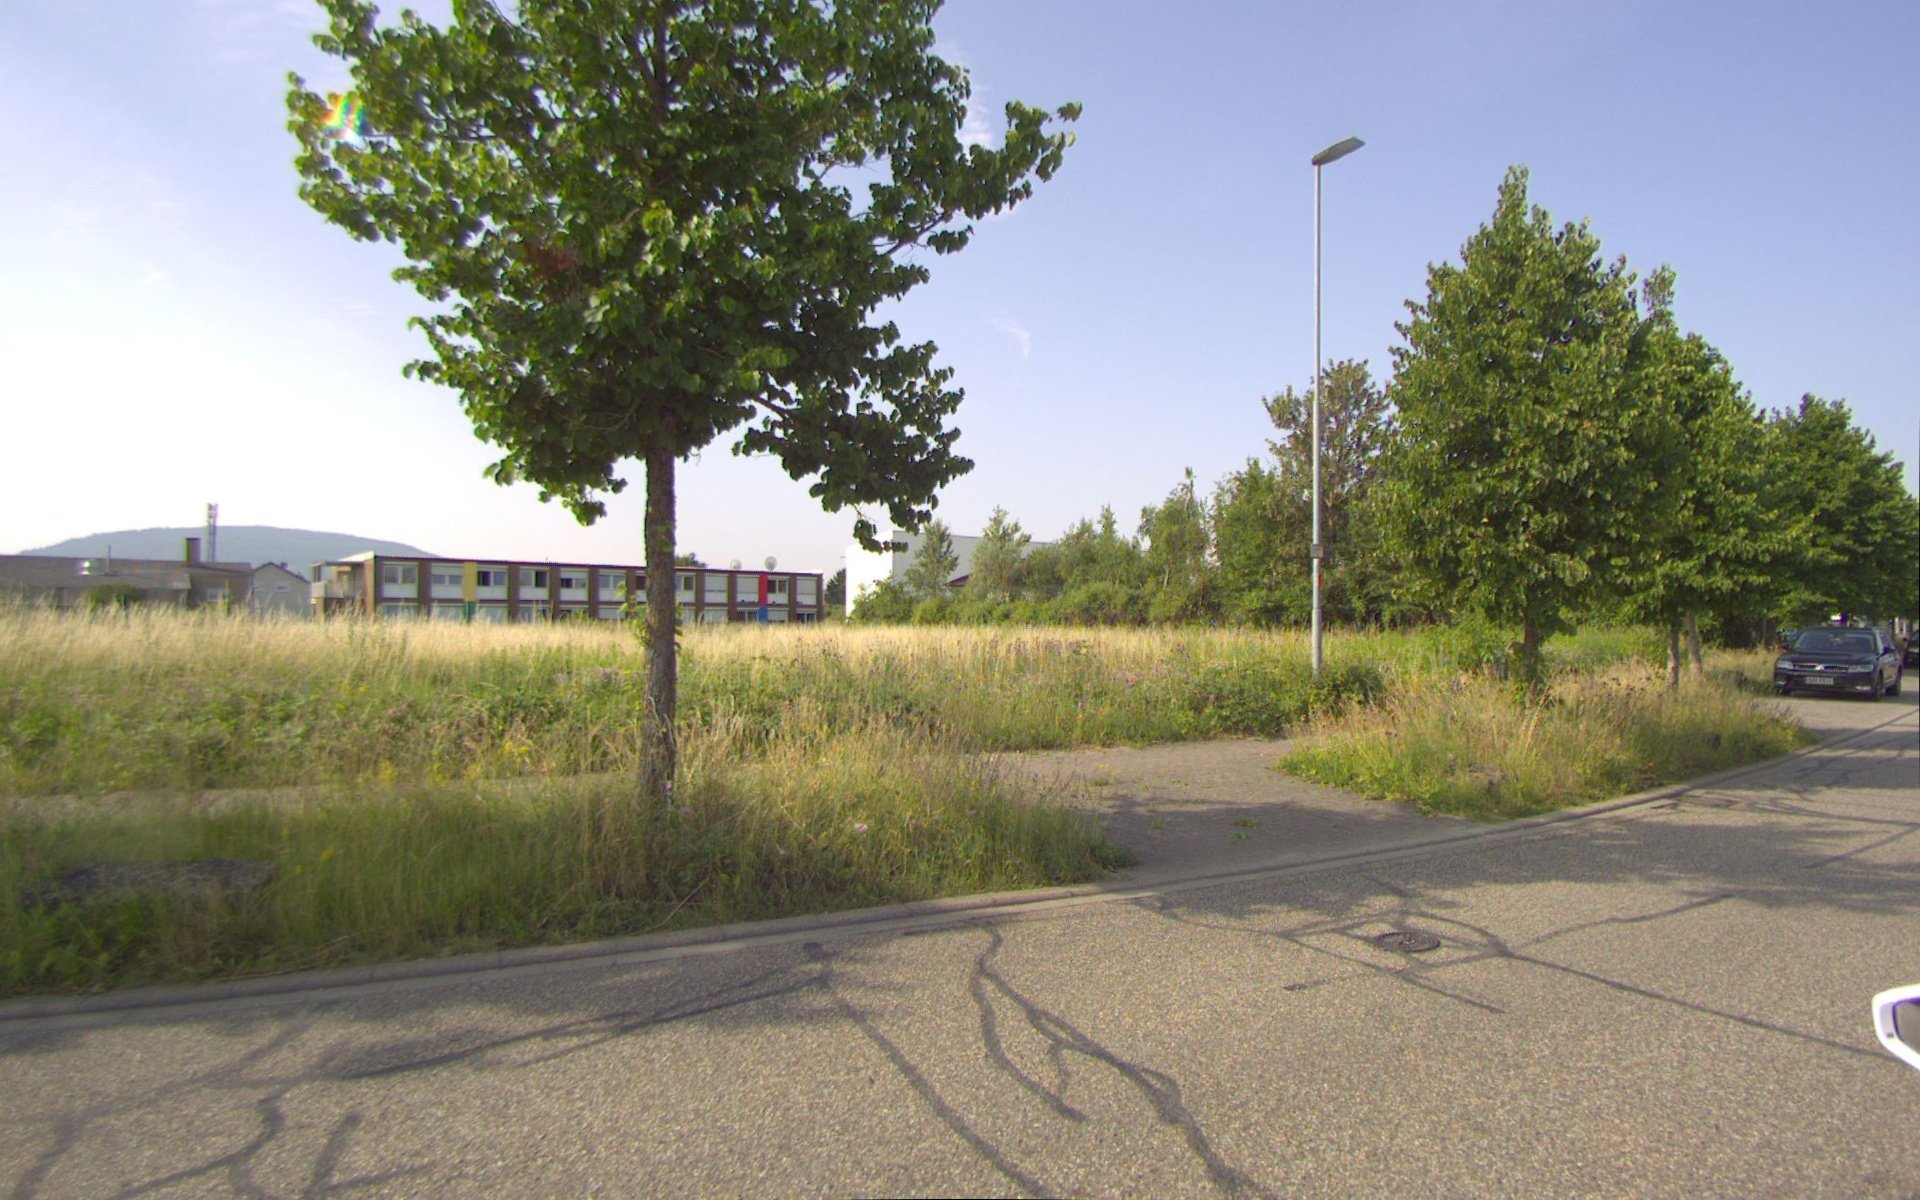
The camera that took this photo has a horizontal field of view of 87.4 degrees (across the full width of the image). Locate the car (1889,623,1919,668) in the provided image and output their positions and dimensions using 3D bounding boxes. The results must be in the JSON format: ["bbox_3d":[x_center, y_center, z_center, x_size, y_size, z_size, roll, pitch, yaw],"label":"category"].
[{"bbox_3d":[34.191,1.584,35.229,4.015,1.516,1.818,1,1,-40],"label":"car"}]

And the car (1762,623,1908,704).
[{"bbox_3d":[20.650,1.409,23.657,4.412,1.648,1.887,1,1,-40],"label":"car"}]
